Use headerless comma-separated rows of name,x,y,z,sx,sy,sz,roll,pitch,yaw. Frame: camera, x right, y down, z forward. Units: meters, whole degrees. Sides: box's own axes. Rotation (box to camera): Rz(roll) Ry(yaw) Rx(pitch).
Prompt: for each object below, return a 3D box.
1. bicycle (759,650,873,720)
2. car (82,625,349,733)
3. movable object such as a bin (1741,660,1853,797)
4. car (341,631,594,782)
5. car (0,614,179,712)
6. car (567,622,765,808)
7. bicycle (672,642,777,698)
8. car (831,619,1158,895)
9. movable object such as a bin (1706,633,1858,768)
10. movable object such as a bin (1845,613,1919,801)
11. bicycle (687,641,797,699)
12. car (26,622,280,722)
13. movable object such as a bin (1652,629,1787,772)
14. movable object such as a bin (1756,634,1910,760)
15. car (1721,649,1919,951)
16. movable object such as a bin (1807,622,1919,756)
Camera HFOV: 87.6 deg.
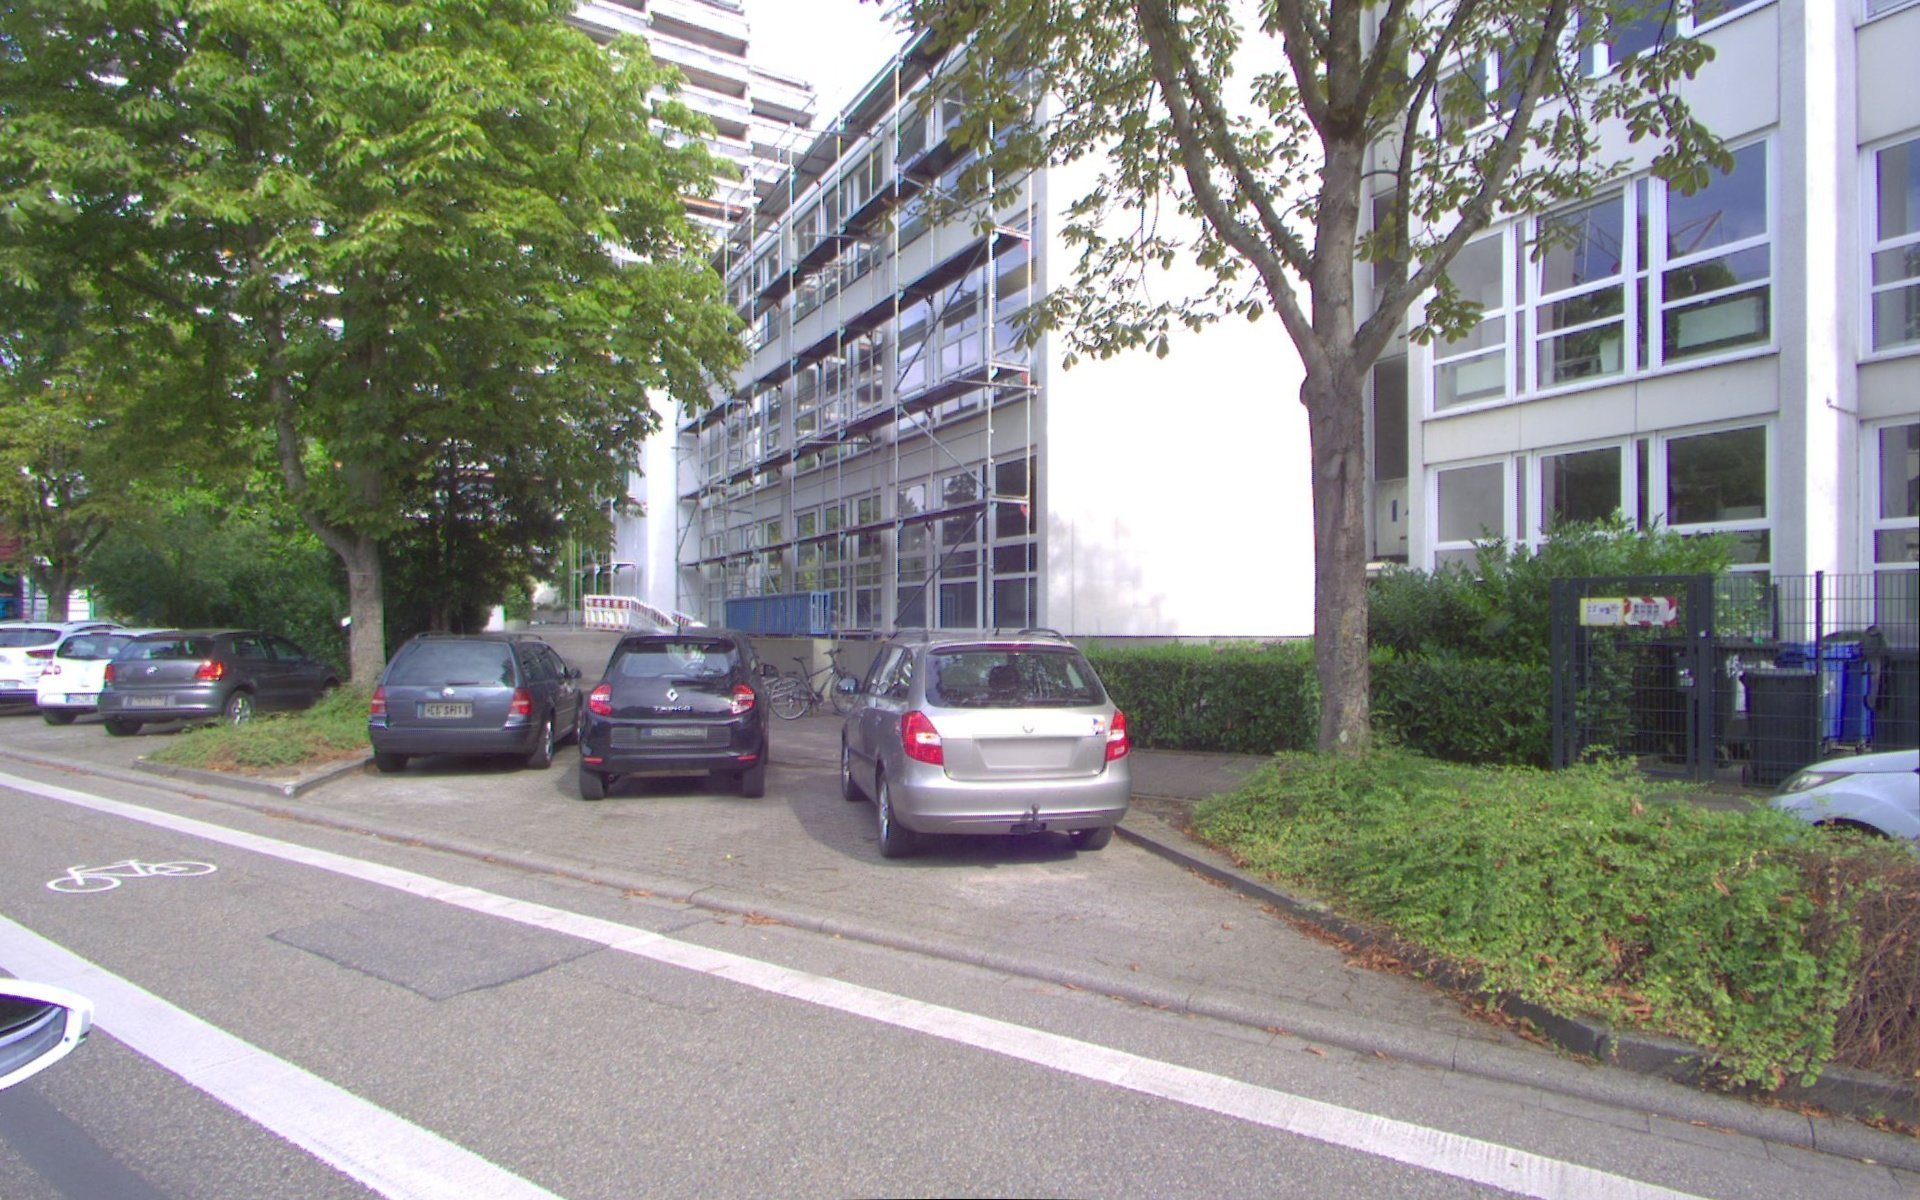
bicycle,-2.373,1.387,16.607,1.813,1.057,0.451,0,0,-29
car,-11.095,1.110,15.270,1.650,1.438,3.647,0,-2,-6
movable object such as a bin,7.460,1.113,8.962,0.734,1.119,0.781,0,-1,38
car,-5.520,1.090,11.800,1.783,1.433,4.166,0,-2,-14
car,-16.292,1.105,18.382,1.651,1.623,3.644,0,-2,-12
car,-2.815,1.016,10.204,1.566,1.557,3.416,1,-1,-10
bicycle,-4.632,1.352,19.696,1.944,1.057,0.593,1,-1,-20
car,-0.021,0.963,7.829,1.566,1.557,4.049,1,-2,-13
movable object such as a bin,9.237,1.079,11.268,1.050,1.409,1.111,1,-1,-36
movable object such as a bin,8.598,0.894,8.578,1.397,1.549,1.322,-1,-1,37
bicycle,-4.111,1.303,18.962,1.949,1.057,0.591,1,-1,-30
car,-13.434,1.138,16.971,1.650,1.493,3.647,0,-2,-6
movable object such as a bin,8.076,1.026,10.655,1.012,1.425,0.906,1,-1,-36
movable object such as a bin,10.382,1.105,11.922,1.160,1.388,1.171,1,-1,-36
car,5.568,0.947,4.031,1.604,1.411,3.858,1,-2,-13
movable object such as a bin,11.565,1.080,12.583,1.160,1.588,1.171,1,-1,-36
